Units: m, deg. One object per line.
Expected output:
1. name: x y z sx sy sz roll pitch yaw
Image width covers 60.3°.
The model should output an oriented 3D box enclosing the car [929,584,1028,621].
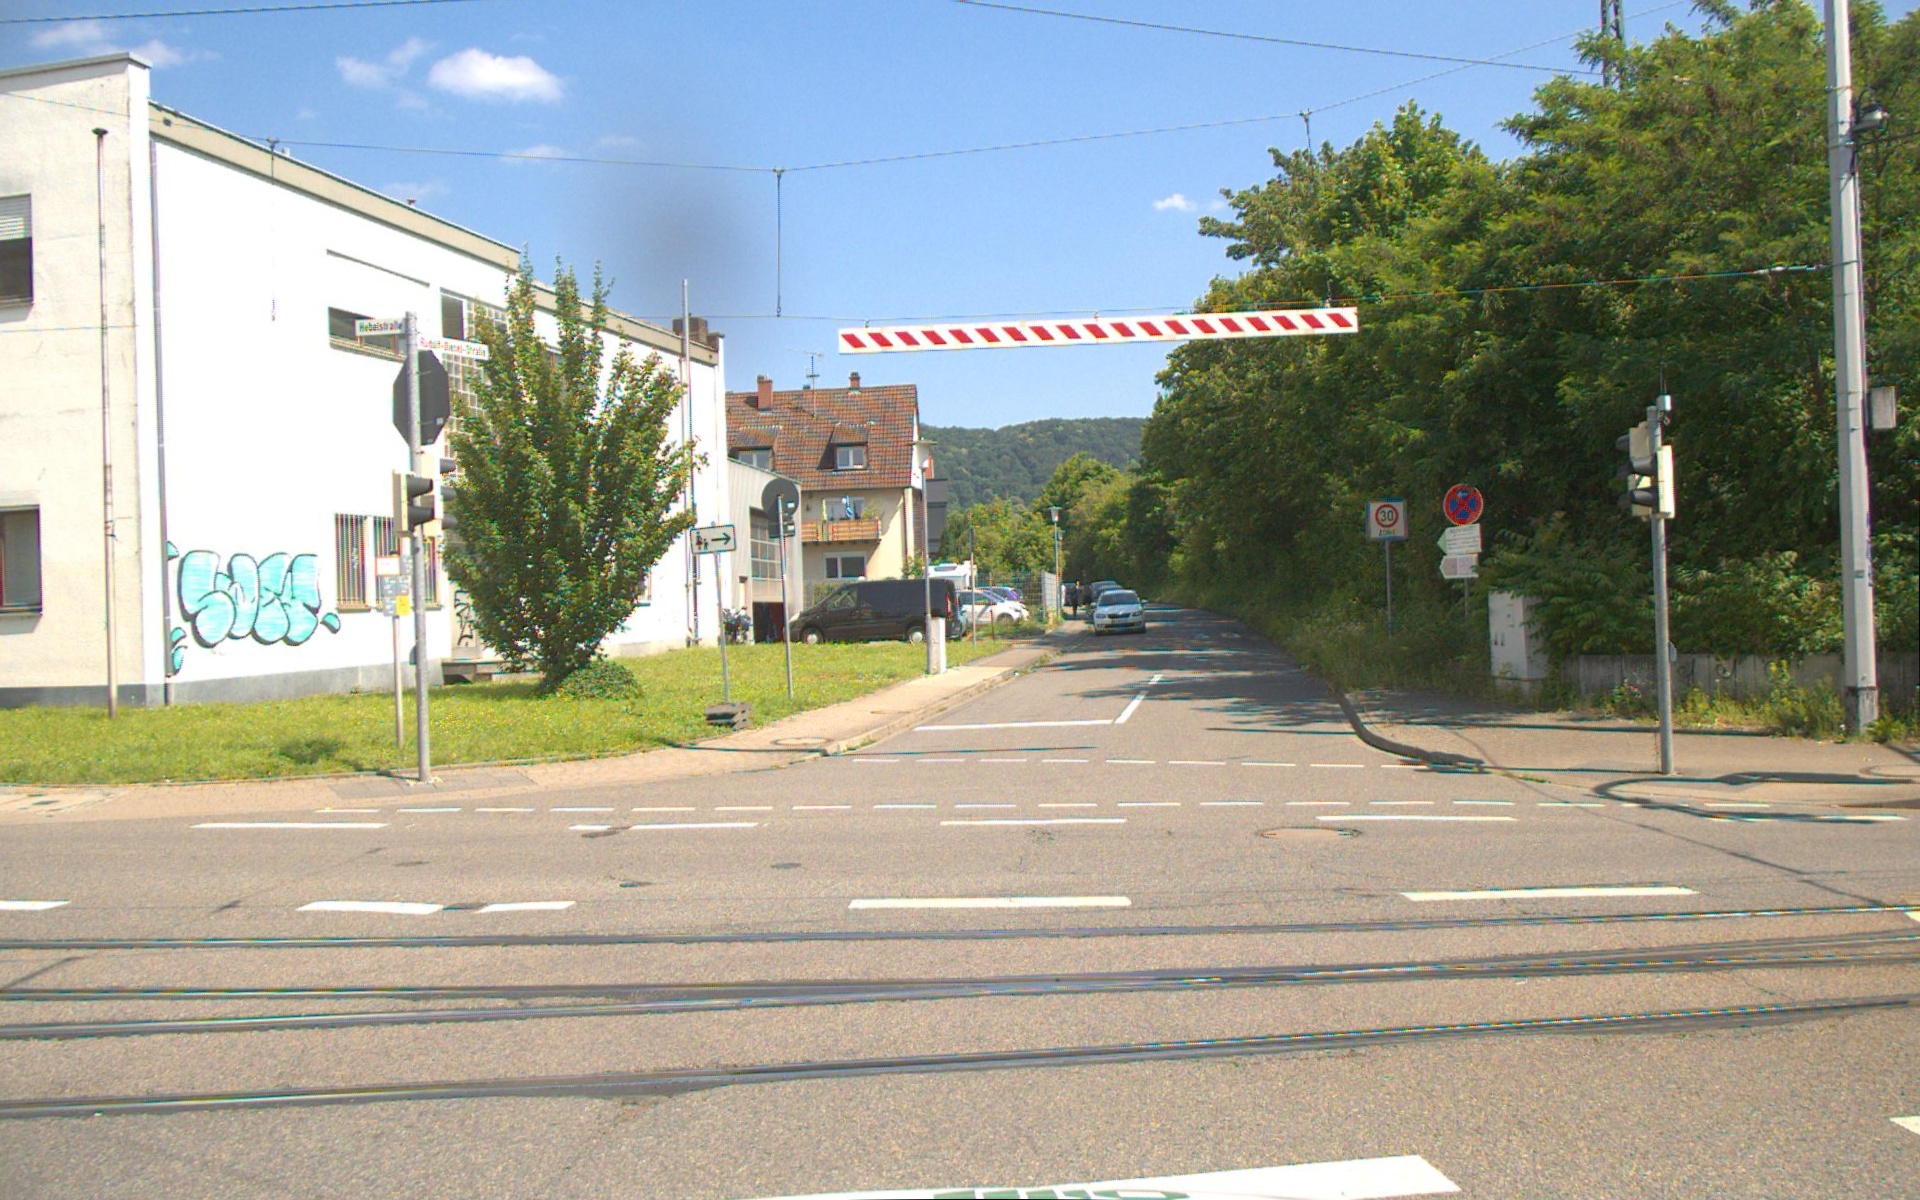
1. car: 0.734 0.104 64.350 3.641 1.395 1.606 0 -1 9

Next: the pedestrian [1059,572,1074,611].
1. pedestrian: 4.964 -0.391 77.027 0.640 1.794 0.804 0 -1 7

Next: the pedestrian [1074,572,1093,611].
1. pedestrian: 5.750 -0.389 76.950 0.857 1.794 0.731 0 -1 7

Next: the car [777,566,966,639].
1. car: -2.516 0.077 47.814 5.137 1.848 2.001 -3 0 6

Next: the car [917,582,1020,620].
1. car: 0.322 0.050 61.613 3.641 1.396 1.605 0 -1 9

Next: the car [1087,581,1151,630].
1. car: 5.561 0.156 57.490 2.042 1.536 4.544 0 2 8

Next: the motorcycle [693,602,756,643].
1. motorcycle: -6.111 0.599 43.134 0.833 1.050 2.569 0 -1 11
